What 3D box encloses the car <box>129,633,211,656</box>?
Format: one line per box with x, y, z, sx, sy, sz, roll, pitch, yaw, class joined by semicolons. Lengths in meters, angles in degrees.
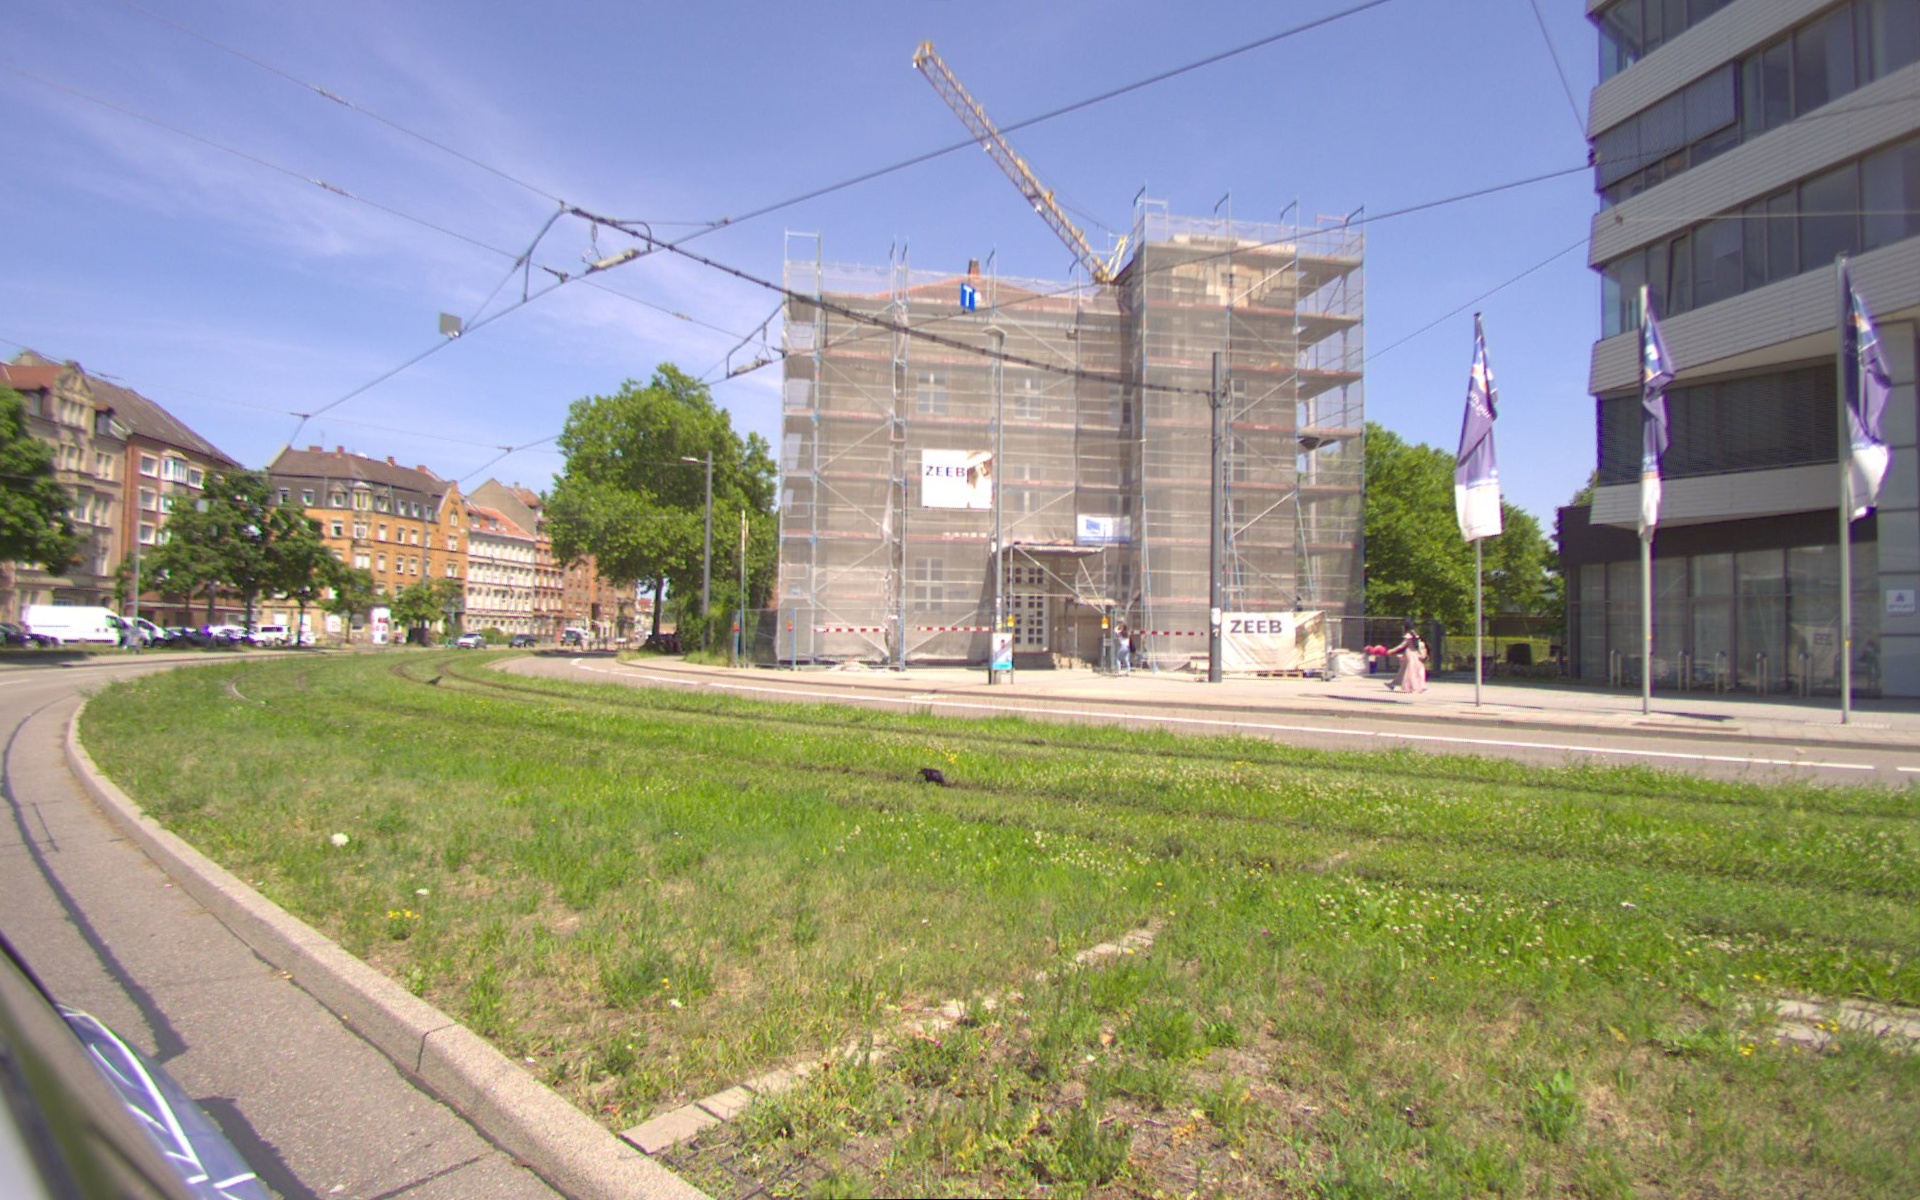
-50.453;2.814;64.755;3.932;1.397;1.829;1;-3;-32;car

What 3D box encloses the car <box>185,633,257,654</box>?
-51.802;3.068;71.026;3.932;1.410;1.829;1;-3;-32;car

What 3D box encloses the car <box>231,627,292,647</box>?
-72.558;3.848;105.193;4.770;1.953;2.174;0;-2;-21;car

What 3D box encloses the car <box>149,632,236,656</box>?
-51.428;2.916;67.913;4.556;1.508;1.970;1;-3;-35;car

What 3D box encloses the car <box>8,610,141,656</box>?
-50.294;1.889;57.550;2.238;2.479;5.473;-3;-3;43;car

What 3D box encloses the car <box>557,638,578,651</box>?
-48.460;5.524;125.067;1.772;1.586;4.009;0;-2;-12;car

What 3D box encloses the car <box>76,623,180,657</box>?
-50.387;2.427;61.408;4.771;1.988;2.080;1;-3;-40;car

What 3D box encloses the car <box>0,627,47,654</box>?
-48.134;2.025;49.987;1.972;1.349;4.369;-3;-3;42;car

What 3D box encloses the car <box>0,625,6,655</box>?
-47.233;1.877;46.647;1.972;1.438;4.626;-3;-3;43;car

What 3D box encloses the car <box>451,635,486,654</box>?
-43.740;3.951;90.143;1.772;1.586;4.008;0;-2;-10;car

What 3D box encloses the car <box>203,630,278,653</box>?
-52.646;3.015;74.123;4.338;1.644;2.005;1;-3;-33;car

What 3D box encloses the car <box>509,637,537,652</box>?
-45.452;4.629;105.311;1.772;1.586;4.008;0;-2;-10;car

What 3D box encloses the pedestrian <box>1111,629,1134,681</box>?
4.812;1.618;29.965;0.573;1.530;0.589;-1;-2;3;pedestrian

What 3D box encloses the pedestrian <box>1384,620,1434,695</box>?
10.025;1.279;22.628;0.908;1.643;0.745;-1;-2;18;pedestrian

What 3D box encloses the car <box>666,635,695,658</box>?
-24.005;3.979;87.038;1.968;1.825;4.309;0;-2;-9;car
